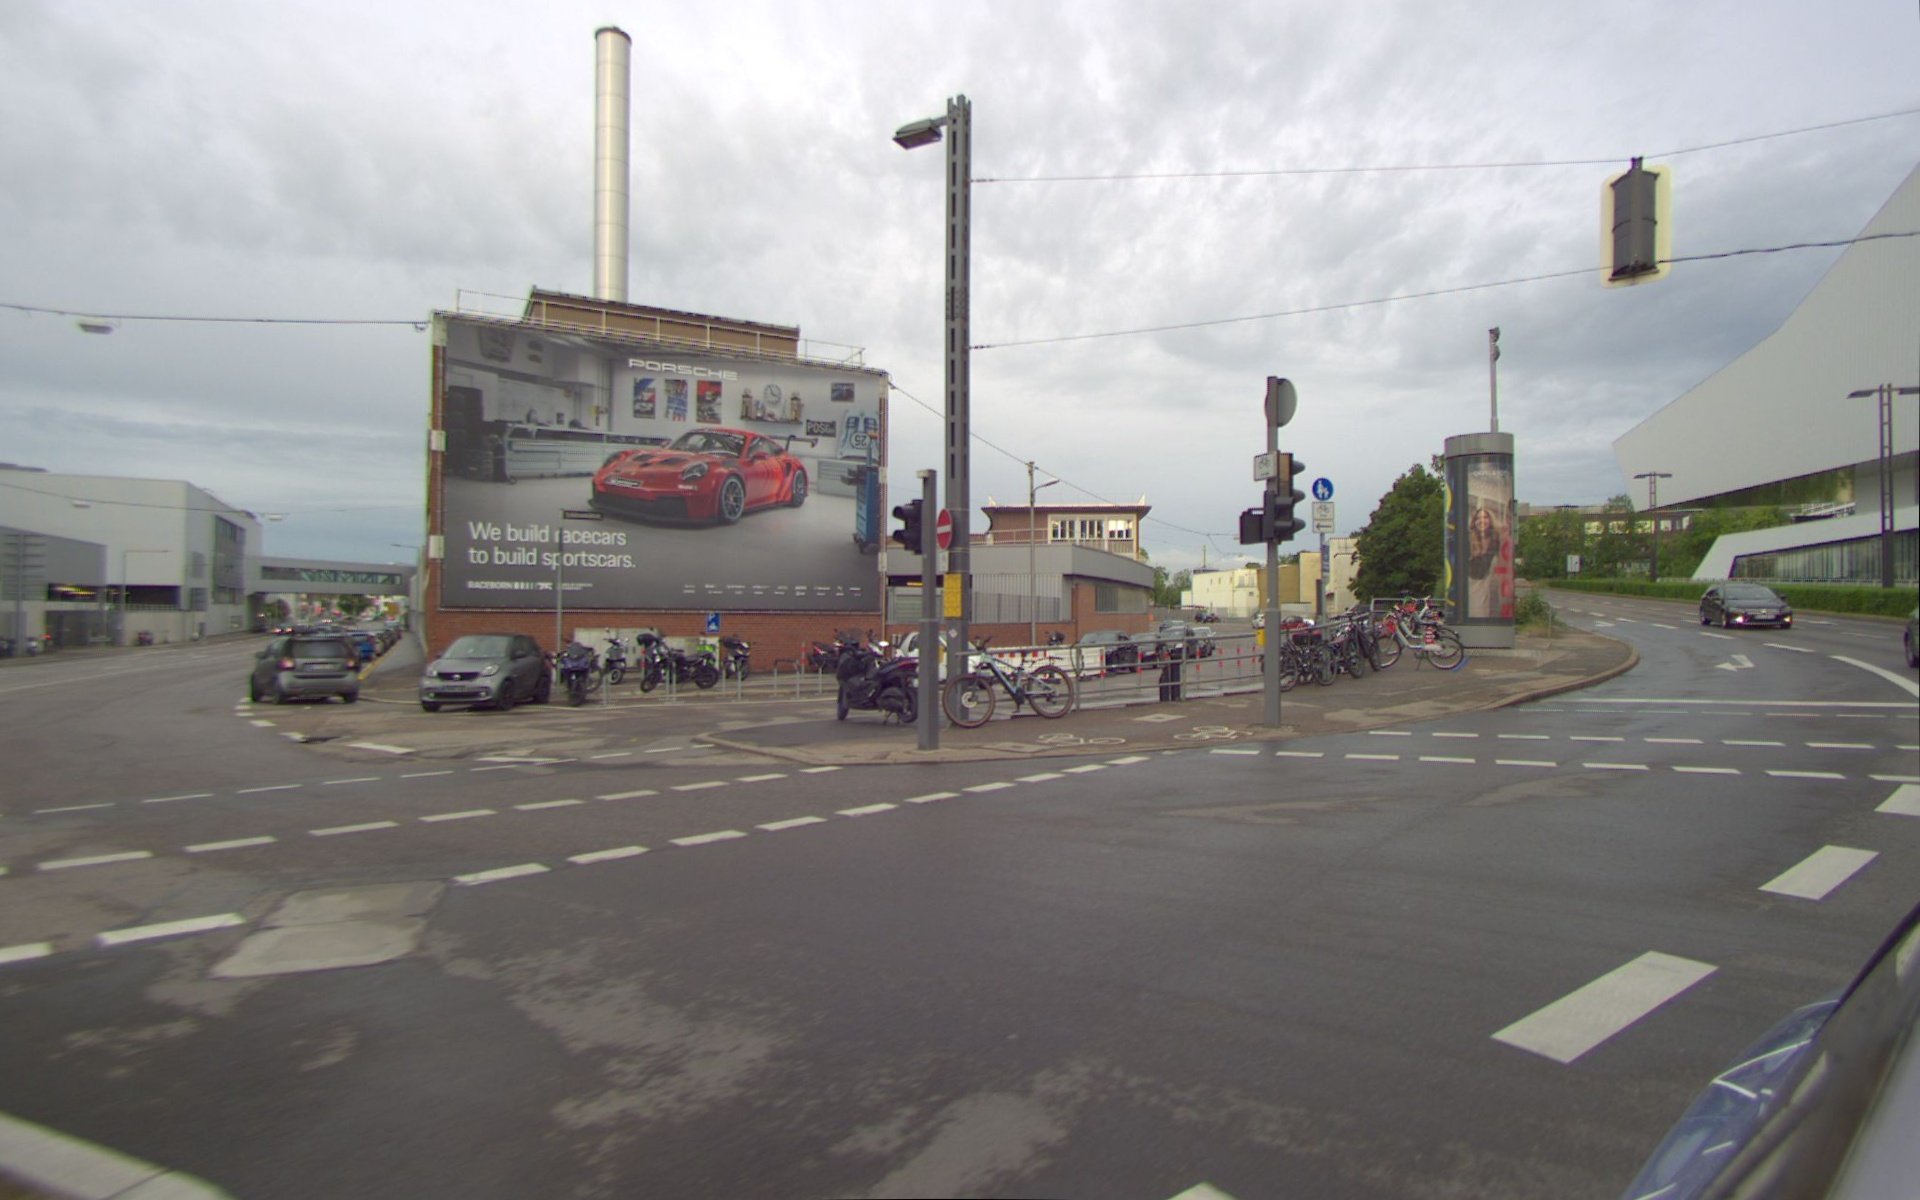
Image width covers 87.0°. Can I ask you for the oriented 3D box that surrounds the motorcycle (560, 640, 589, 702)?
[{"bbox_3d":[-8.022,1.457,21.097,0.485,1.160,1.727,-3,0,-20],"label":"motorcycle"}]

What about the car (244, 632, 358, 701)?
[{"bbox_3d":[-15.456,1.519,23.711,2.739,1.512,1.531,-2,-3,41],"label":"car"}]

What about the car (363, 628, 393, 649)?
[{"bbox_3d":[-39.246,2.602,68.284,1.430,1.256,3.376,-3,1,-26],"label":"car"}]

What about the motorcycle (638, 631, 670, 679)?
[{"bbox_3d":[-8.268,1.458,27.307,0.533,1.195,1.716,-3,0,-25],"label":"motorcycle"}]

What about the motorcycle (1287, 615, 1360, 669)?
[{"bbox_3d":[6.887,0.771,19.147,1.715,0.906,0.547,-3,1,-42],"label":"motorcycle"}]

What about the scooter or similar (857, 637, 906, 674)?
[{"bbox_3d":[-2.493,1.744,31.867,1.631,1.110,0.497,-2,0,41],"label":"scooter or similar"}]

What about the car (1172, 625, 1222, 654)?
[{"bbox_3d":[13.027,2.134,55.439,1.704,1.422,4.234,-2,-1,27],"label":"car"}]

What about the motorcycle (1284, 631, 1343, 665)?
[{"bbox_3d":[10.523,1.431,30.165,1.592,0.933,0.420,-2,0,13],"label":"motorcycle"}]

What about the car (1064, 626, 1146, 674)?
[{"bbox_3d":[5.462,1.813,37.604,1.869,1.571,4.470,-2,-1,24],"label":"car"}]

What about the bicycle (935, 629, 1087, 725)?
[{"bbox_3d":[0.717,1.038,13.961,2.030,1.144,0.422,-3,0,-18],"label":"bicycle"}]

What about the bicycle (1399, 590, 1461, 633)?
[{"bbox_3d":[12.447,0.299,26.825,1.433,1.087,0.444,0,2,-5],"label":"bicycle"}]

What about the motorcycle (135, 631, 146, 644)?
[{"bbox_3d":[-72.699,3.345,89.752,0.555,1.089,1.927,0,-1,-34],"label":"motorcycle"}]

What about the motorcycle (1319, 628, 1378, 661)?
[{"bbox_3d":[11.849,1.368,30.922,1.591,0.933,0.420,-2,0,11],"label":"motorcycle"}]

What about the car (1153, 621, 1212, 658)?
[{"bbox_3d":[11.009,1.919,49.870,1.767,1.688,4.462,-2,-1,27],"label":"car"}]

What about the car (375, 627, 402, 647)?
[{"bbox_3d":[-41.603,2.679,73.668,1.430,1.256,3.376,-3,1,-26],"label":"car"}]

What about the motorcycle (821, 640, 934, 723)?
[{"bbox_3d":[-1.305,1.213,15.533,0.480,1.160,2.089,-3,0,-44],"label":"motorcycle"}]

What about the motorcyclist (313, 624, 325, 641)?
[{"bbox_3d":[-56.564,2.865,89.344,0.720,1.391,1.020,-3,0,-26],"label":"motorcyclist"}]

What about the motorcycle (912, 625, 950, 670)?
[{"bbox_3d":[-0.947,1.543,33.242,0.518,1.350,1.656,-2,0,25],"label":"motorcycle"}]

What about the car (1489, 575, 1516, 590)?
[{"bbox_3d":[57.763,-1.825,107.772,1.795,1.457,4.274,0,-1,19],"label":"car"}]

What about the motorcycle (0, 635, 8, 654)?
[{"bbox_3d":[-54.985,2.534,57.609,0.554,1.089,1.930,0,-1,-24],"label":"motorcycle"}]

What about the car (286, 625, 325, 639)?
[{"bbox_3d":[-78.578,3.827,121.595,3.922,1.579,1.615,-1,-1,-32],"label":"car"}]

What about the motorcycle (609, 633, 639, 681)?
[{"bbox_3d":[-8.958,1.497,26.966,0.533,1.195,1.651,-3,0,-25],"label":"motorcycle"}]

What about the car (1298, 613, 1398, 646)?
[{"bbox_3d":[17.928,1.347,46.839,3.981,1.444,1.696,-2,-1,40],"label":"car"}]

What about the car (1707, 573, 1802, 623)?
[{"bbox_3d":[26.307,-0.107,33.647,1.733,1.493,4.030,-2,1,28],"label":"car"}]

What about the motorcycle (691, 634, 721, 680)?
[{"bbox_3d":[-6.938,1.529,27.600,0.467,1.133,1.813,-3,0,-23],"label":"motorcycle"}]

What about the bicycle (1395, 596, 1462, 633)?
[{"bbox_3d":[12.677,0.385,27.415,1.669,0.933,0.487,-1,1,-11],"label":"bicycle"}]

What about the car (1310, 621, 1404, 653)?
[{"bbox_3d":[19.536,1.816,49.909,3.981,1.444,1.696,-2,-1,40],"label":"car"}]

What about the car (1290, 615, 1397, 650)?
[{"bbox_3d":[16.585,1.394,43.827,3.981,1.444,1.696,-2,-1,40],"label":"car"}]

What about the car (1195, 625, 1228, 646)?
[{"bbox_3d":[19.215,2.708,77.391,1.690,1.444,4.223,-1,-1,4],"label":"car"}]

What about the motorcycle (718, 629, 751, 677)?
[{"bbox_3d":[-6.350,1.458,28.391,0.533,1.254,1.810,0,-1,-25],"label":"motorcycle"}]

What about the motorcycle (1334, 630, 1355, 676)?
[{"bbox_3d":[8.611,1.160,22.648,0.398,0.901,1.529,-1,1,22],"label":"motorcycle"}]

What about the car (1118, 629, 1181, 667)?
[{"bbox_3d":[8.213,2.031,43.638,1.702,1.444,3.965,-2,-1,25],"label":"car"}]

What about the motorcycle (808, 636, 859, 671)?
[{"bbox_3d":[-3.801,1.585,30.357,1.609,0.985,0.533,-2,0,41],"label":"motorcycle"}]

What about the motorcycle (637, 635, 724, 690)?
[{"bbox_3d":[-6.471,1.431,23.440,1.828,1.125,0.545,-3,0,-29],"label":"motorcycle"}]

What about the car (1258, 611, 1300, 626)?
[{"bbox_3d":[32.824,1.862,104.253,3.937,1.444,1.715,-1,-1,11],"label":"car"}]

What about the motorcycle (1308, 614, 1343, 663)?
[{"bbox_3d":[7.427,0.765,20.561,0.431,0.901,1.251,-1,1,31],"label":"motorcycle"}]

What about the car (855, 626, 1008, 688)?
[{"bbox_3d":[-0.806,1.498,27.217,3.972,1.508,1.549,-2,-1,34],"label":"car"}]

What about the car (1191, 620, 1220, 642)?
[{"bbox_3d":[16.611,2.092,68.601,1.707,1.406,3.985,-1,-1,12],"label":"car"}]

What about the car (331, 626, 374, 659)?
[{"bbox_3d":[-30.098,2.067,50.067,1.665,1.461,3.390,-3,1,-33],"label":"car"}]

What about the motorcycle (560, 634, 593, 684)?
[{"bbox_3d":[-10.139,1.527,26.719,0.661,1.195,1.651,-3,0,-25],"label":"motorcycle"}]

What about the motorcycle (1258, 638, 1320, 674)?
[{"bbox_3d":[9.100,1.550,28.014,1.595,0.933,0.479,-2,0,18],"label":"motorcycle"}]

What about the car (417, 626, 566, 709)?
[{"bbox_3d":[-9.639,1.333,21.075,1.594,1.523,3.246,-1,-1,0],"label":"car"}]

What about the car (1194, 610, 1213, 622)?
[{"bbox_3d":[32.945,2.159,136.986,1.688,1.444,3.999,-1,-1,0],"label":"car"}]

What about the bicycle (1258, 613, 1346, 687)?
[{"bbox_3d":[5.680,0.810,16.763,1.710,1.097,0.348,-2,1,-32],"label":"bicycle"}]

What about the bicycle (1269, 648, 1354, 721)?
[{"bbox_3d":[6.058,1.432,17.400,1.710,1.097,0.348,-2,1,-32],"label":"bicycle"}]

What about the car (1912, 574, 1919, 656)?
[{"bbox_3d":[17.782,0.301,17.222,1.683,1.526,3.962,-2,1,35],"label":"car"}]

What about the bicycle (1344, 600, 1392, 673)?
[{"bbox_3d":[7.511,0.639,18.594,0.398,1.189,1.991,-1,1,34],"label":"bicycle"}]

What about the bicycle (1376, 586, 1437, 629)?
[{"bbox_3d":[12.564,0.202,28.484,1.526,1.169,0.448,1,2,21],"label":"bicycle"}]

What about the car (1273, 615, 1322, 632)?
[{"bbox_3d":[30.276,2.143,91.000,3.937,1.444,1.715,-1,-1,11],"label":"car"}]

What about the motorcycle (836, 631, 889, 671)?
[{"bbox_3d":[-3.027,1.570,31.201,1.713,1.166,0.576,-2,0,41],"label":"motorcycle"}]

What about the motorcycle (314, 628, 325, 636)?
[{"bbox_3d":[-56.562,2.825,89.349,0.554,0.678,2.230,-3,1,-26],"label":"motorcycle"}]

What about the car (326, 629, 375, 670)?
[{"bbox_3d":[-24.792,1.962,41.234,1.430,1.461,3.393,-3,1,-27],"label":"car"}]

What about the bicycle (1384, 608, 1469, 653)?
[{"bbox_3d":[9.974,0.645,21.675,1.607,0.933,0.416,-1,0,37],"label":"bicycle"}]

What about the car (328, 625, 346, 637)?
[{"bbox_3d":[-74.783,3.746,121.530,1.430,1.256,3.376,-3,1,-26],"label":"car"}]

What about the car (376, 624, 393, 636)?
[{"bbox_3d":[-63.435,3.287,111.565,1.430,1.256,3.376,-3,1,-26],"label":"car"}]

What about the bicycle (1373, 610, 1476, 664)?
[{"bbox_3d":[8.816,0.694,19.236,1.733,0.973,0.416,-1,1,34],"label":"bicycle"}]

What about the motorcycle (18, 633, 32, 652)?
[{"bbox_3d":[-58.140,2.613,62.916,1.921,1.146,0.556,-1,-1,45],"label":"motorcycle"}]

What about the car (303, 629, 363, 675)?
[{"bbox_3d":[-22.523,1.829,36.453,1.430,1.461,3.470,-3,1,-26],"label":"car"}]
